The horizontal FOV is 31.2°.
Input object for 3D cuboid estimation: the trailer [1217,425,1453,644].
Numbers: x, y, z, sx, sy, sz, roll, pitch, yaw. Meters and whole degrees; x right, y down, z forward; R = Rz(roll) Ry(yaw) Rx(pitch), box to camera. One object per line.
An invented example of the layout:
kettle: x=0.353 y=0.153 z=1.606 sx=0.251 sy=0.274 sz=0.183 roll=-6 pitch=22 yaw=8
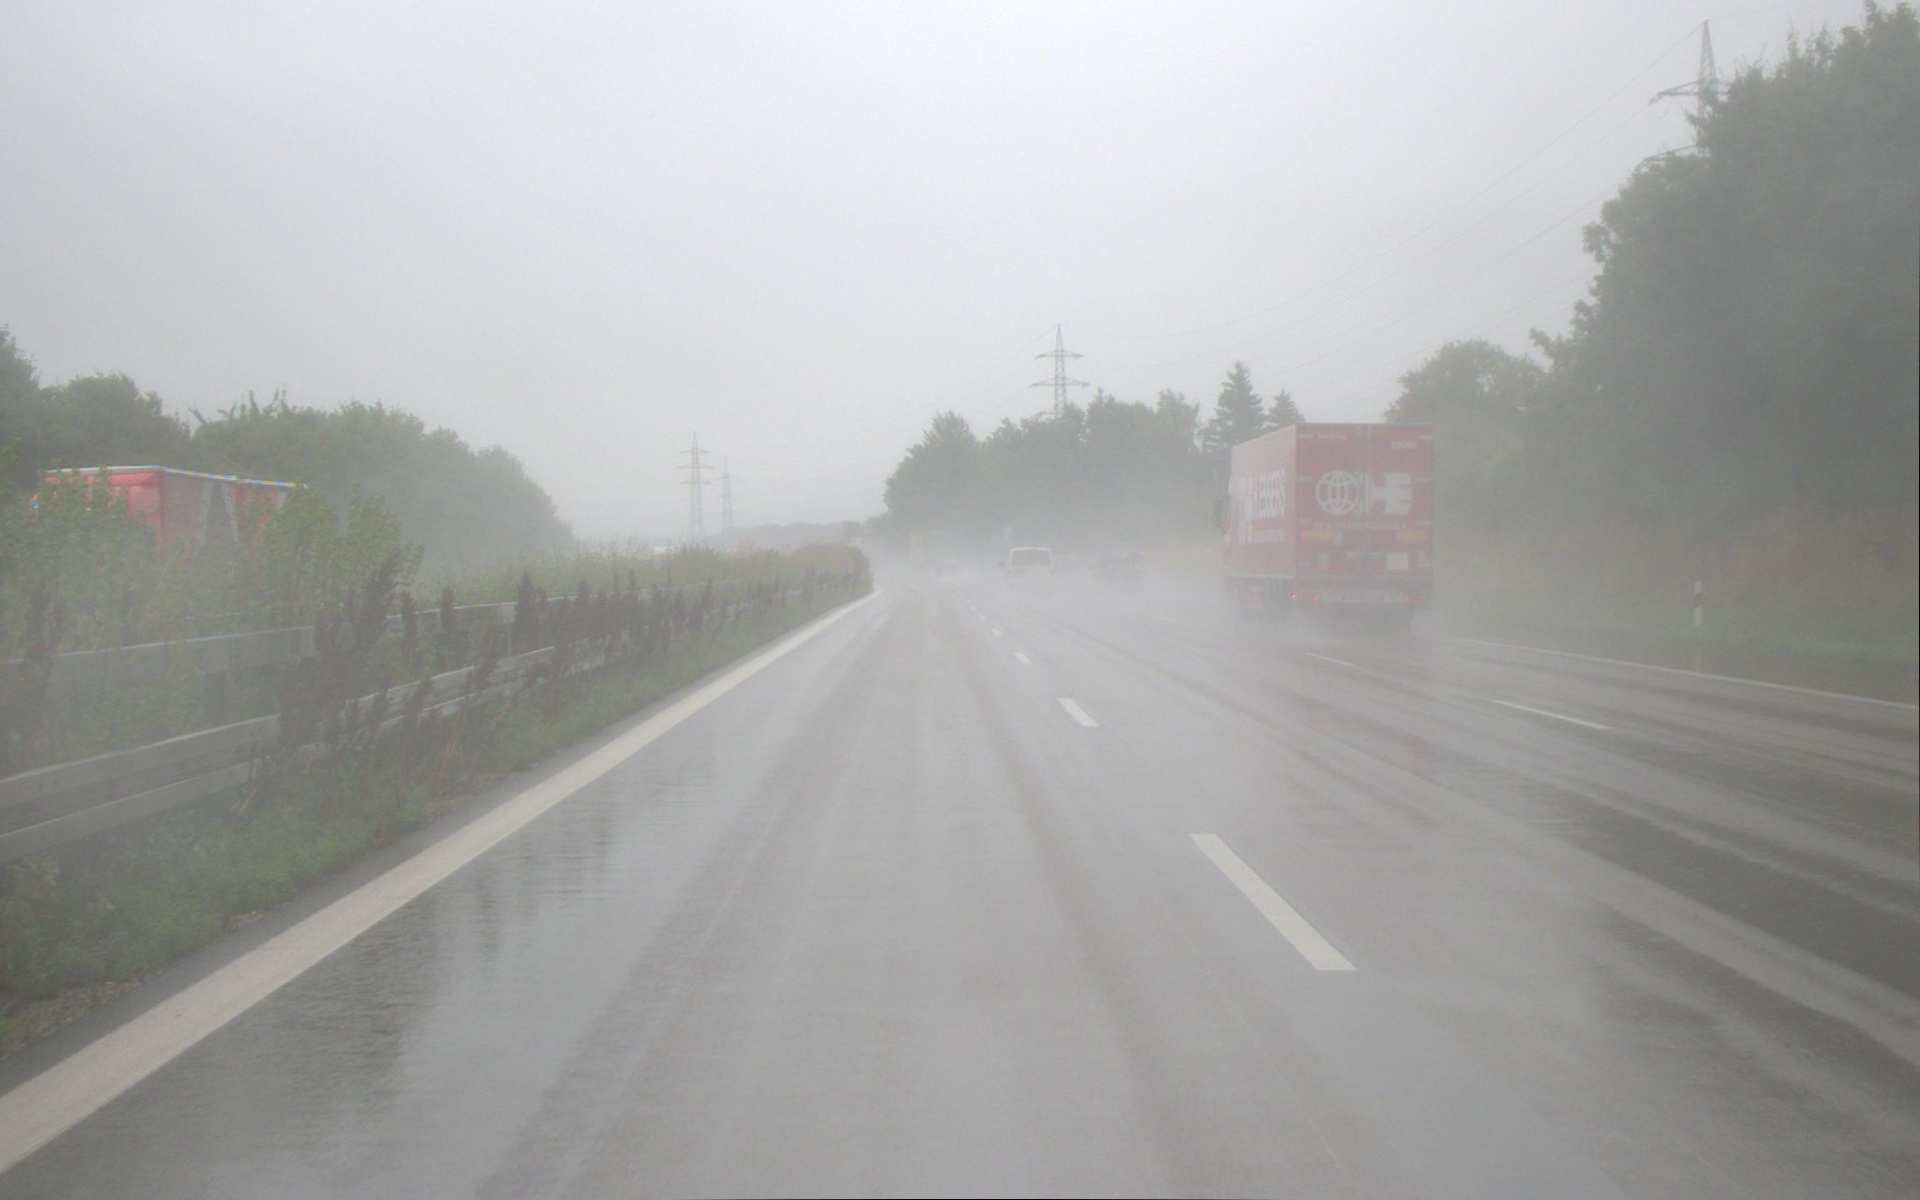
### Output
trailer: x=7.486 y=-1.283 z=70.790 sx=2.620 sy=3.942 sz=13.632 roll=-3 pitch=1 yaw=-2

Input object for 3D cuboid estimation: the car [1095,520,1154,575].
car: x=6.722 y=-2.142 z=140.989 sx=1.807 sy=2.151 sz=4.001 roll=-3 pitch=1 yaw=-5
